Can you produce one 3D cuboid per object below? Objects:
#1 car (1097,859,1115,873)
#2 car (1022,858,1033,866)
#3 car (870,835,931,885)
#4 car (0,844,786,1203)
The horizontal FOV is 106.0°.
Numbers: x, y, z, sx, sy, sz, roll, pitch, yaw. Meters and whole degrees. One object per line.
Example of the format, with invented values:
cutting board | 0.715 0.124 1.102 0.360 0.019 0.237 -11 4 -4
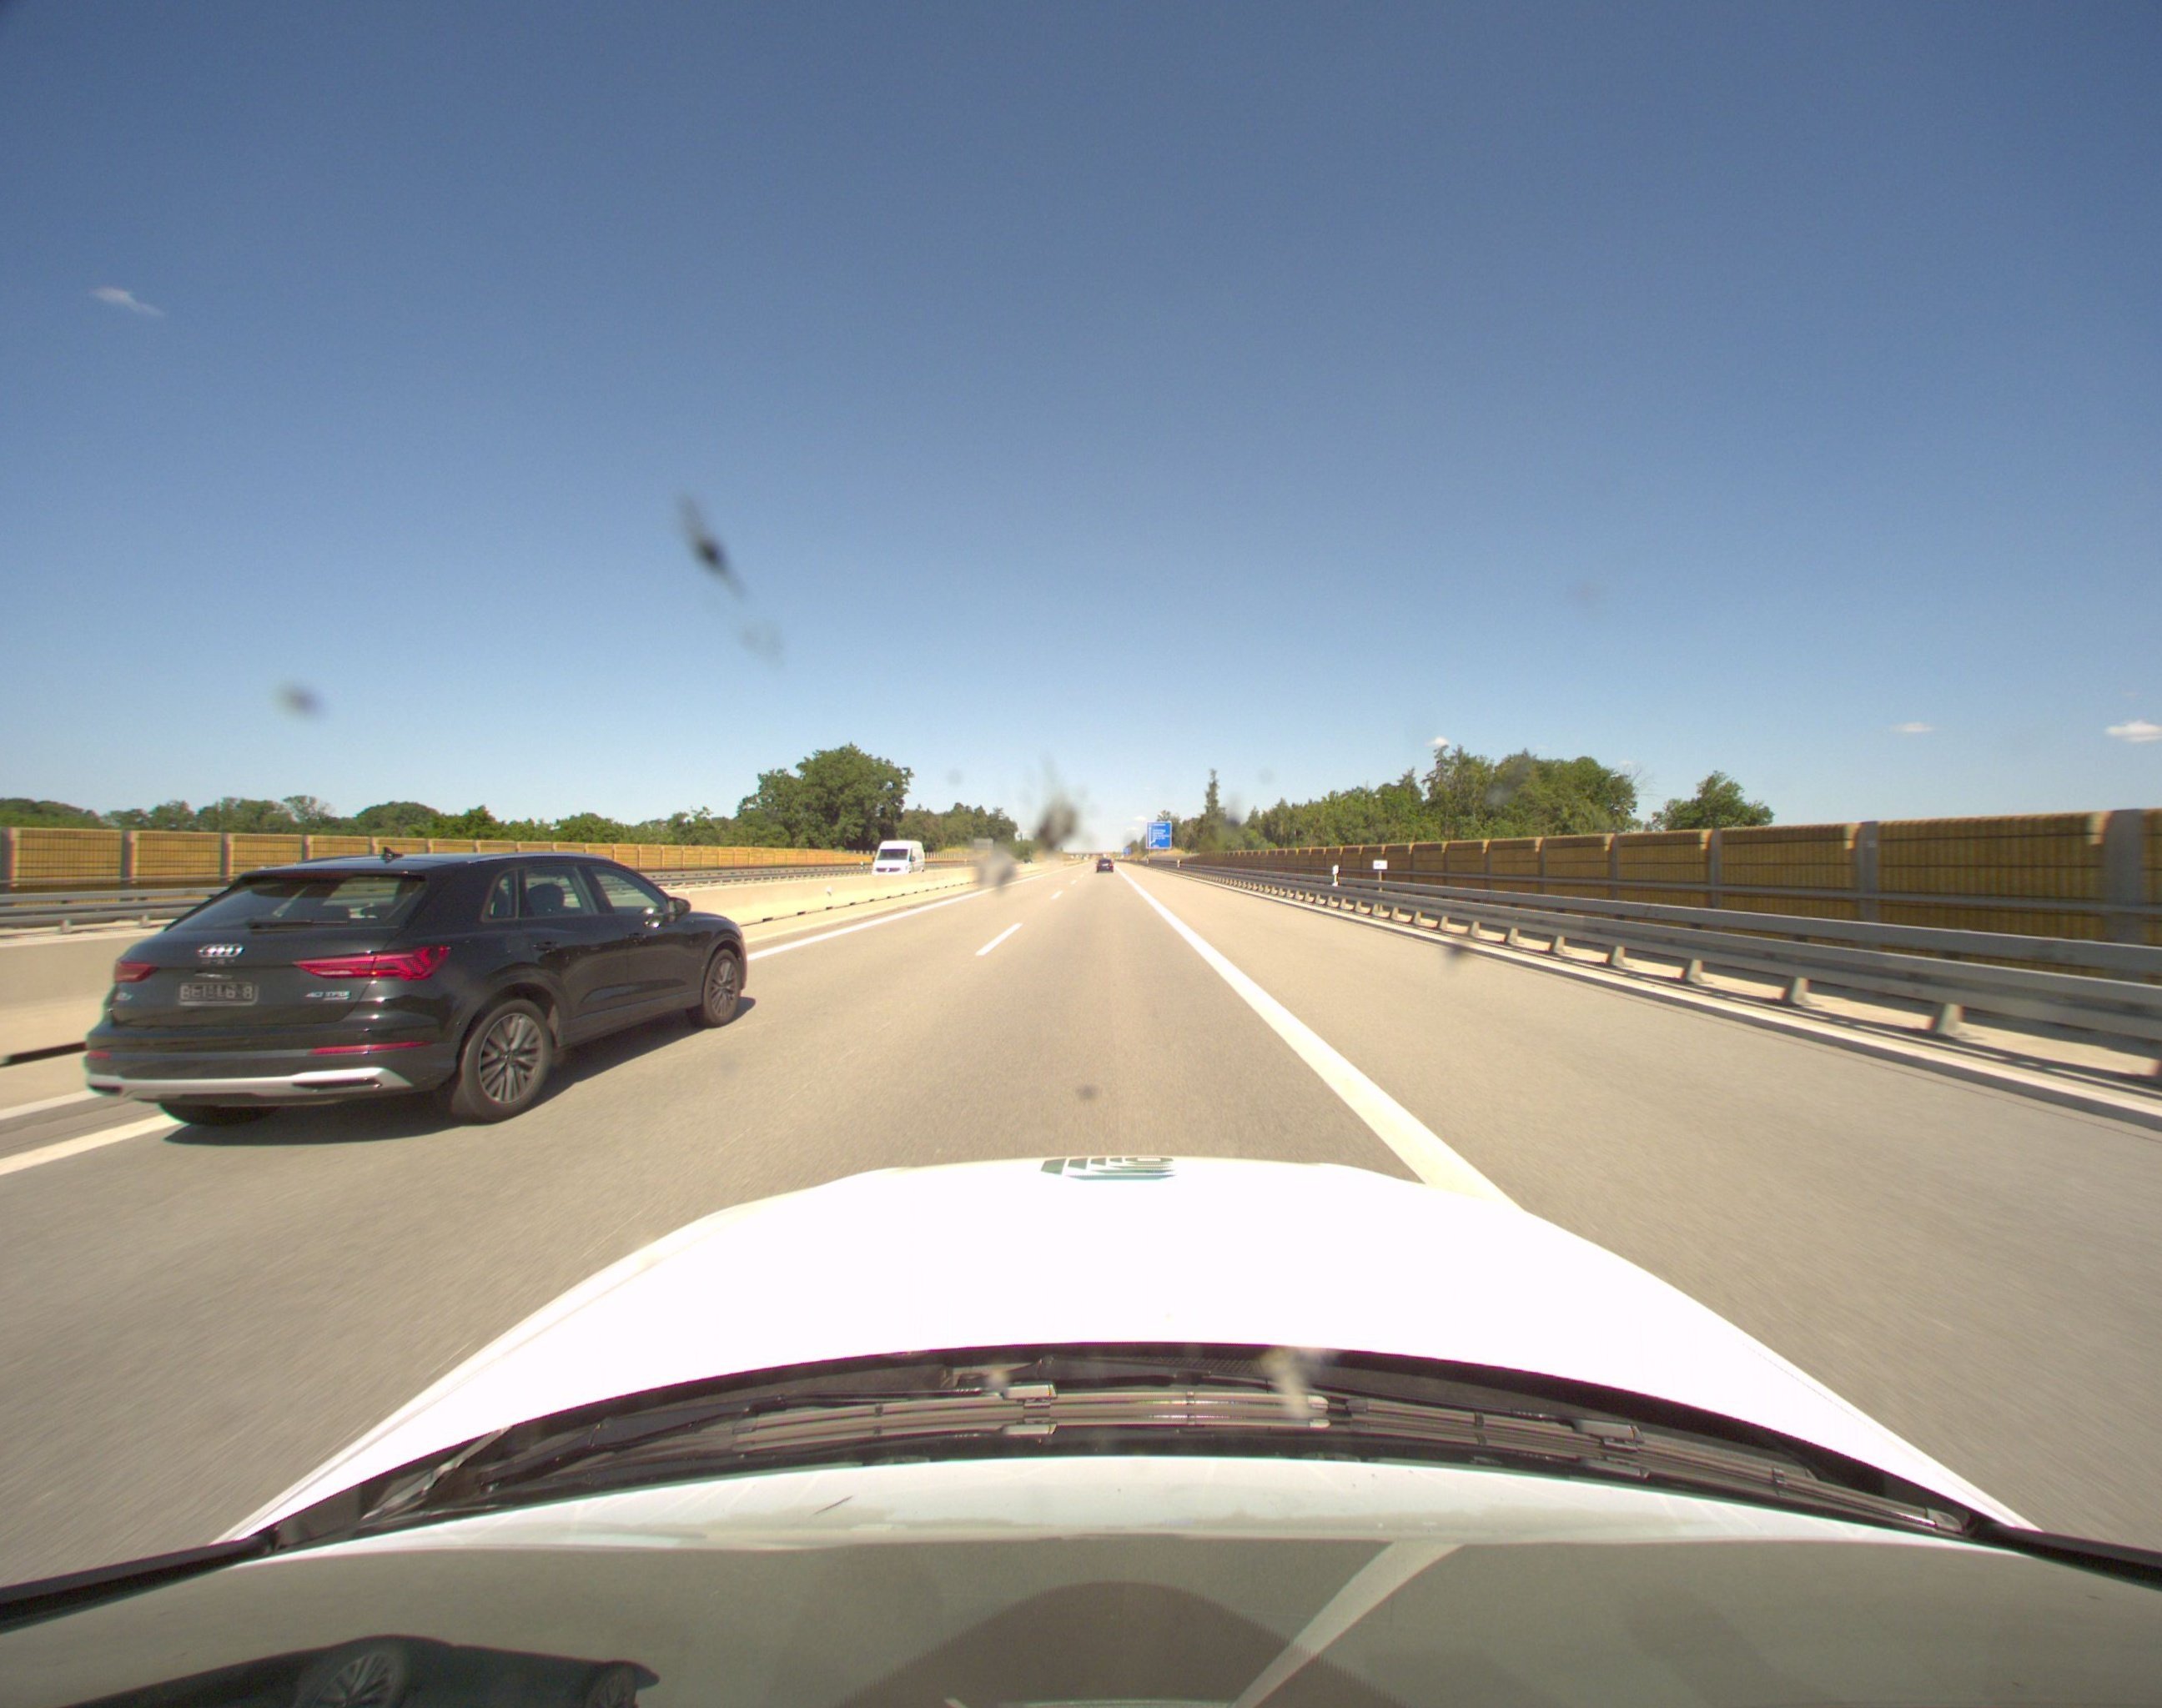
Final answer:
car | 2.618 1.226 84.004 1.783 1.374 3.918 0 0 2
car | -9.893 1.491 150.047 1.574 1.458 4.451 0 0 1
car | -10.367 0.328 47.421 2.016 2.670 6.487 0 0 1
car | -4.154 0.770 6.245 1.715 1.588 5.224 0 0 2
